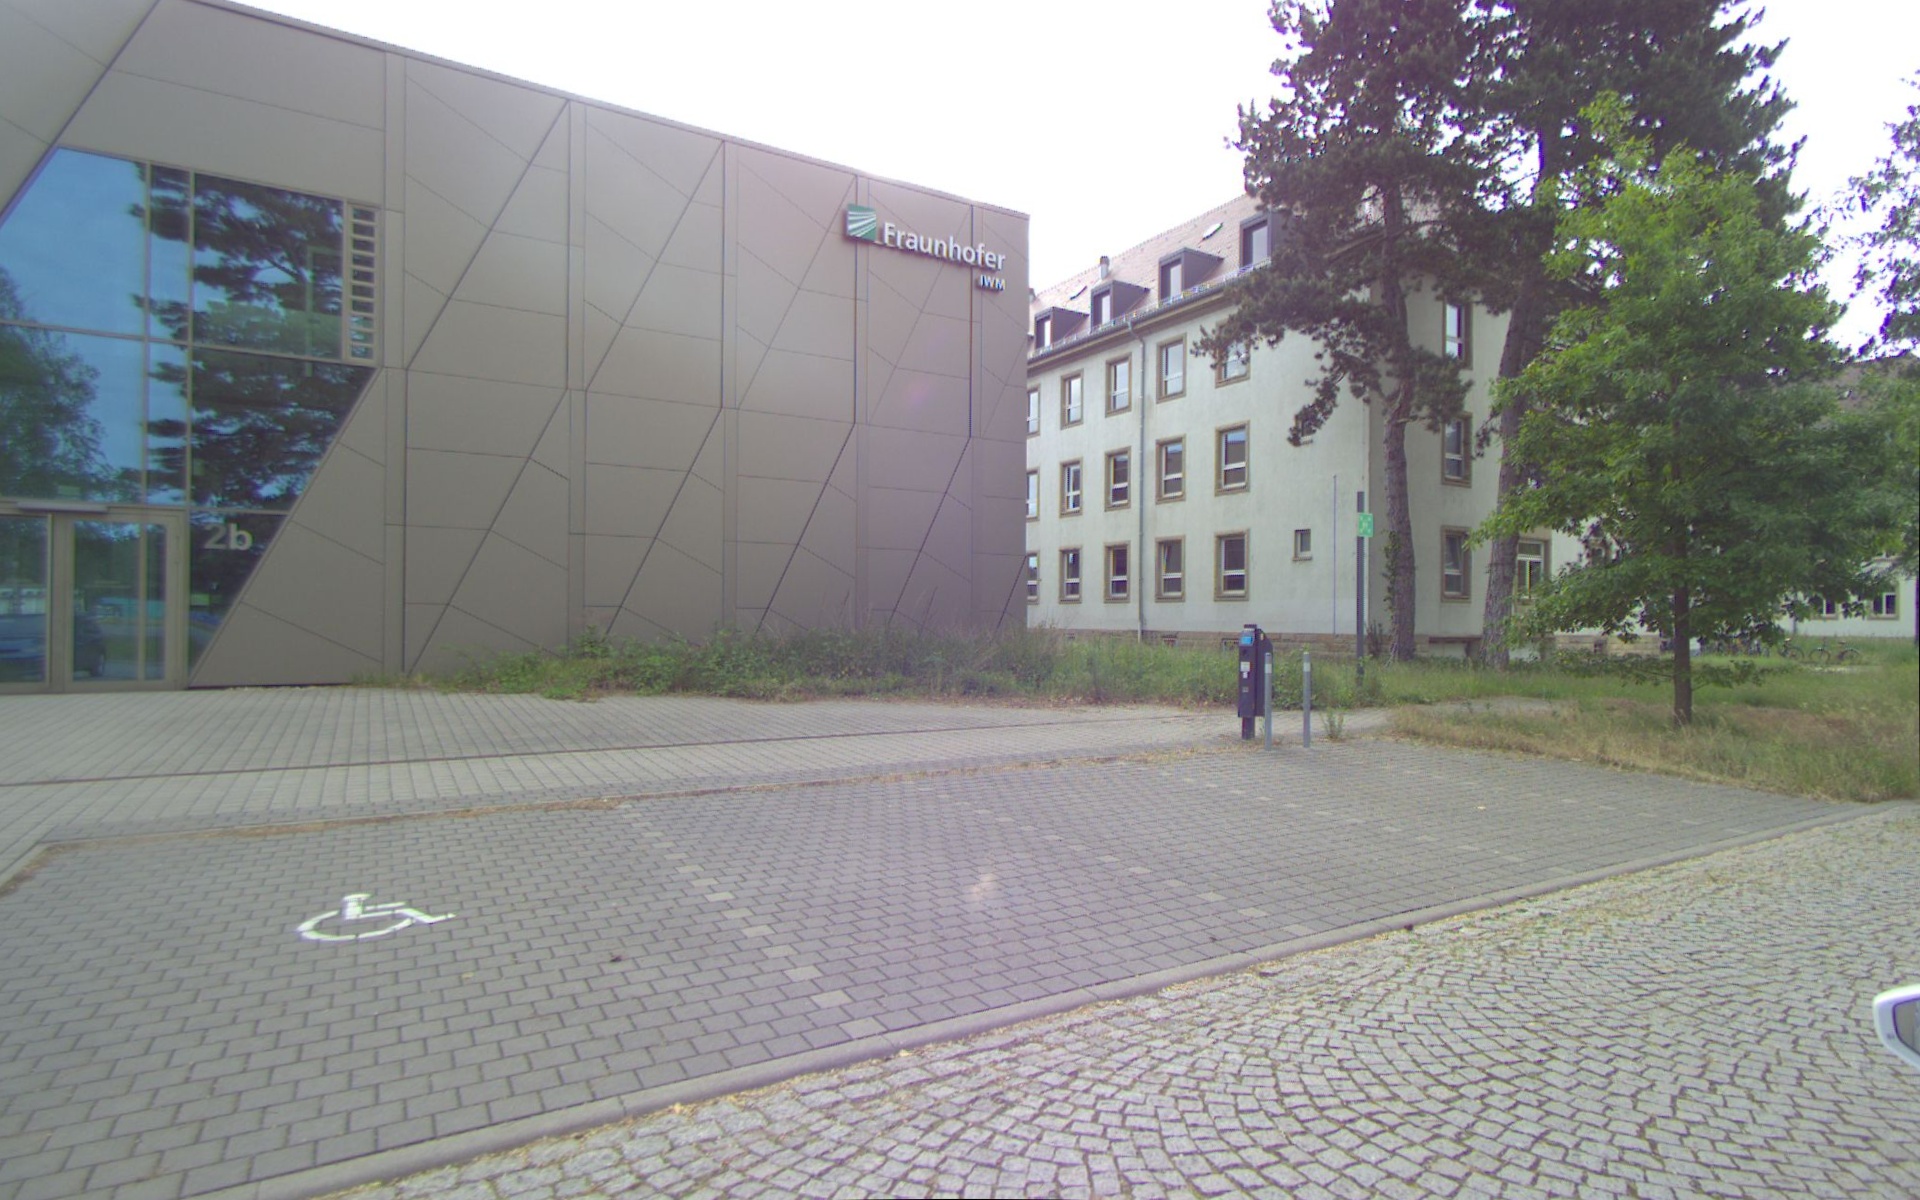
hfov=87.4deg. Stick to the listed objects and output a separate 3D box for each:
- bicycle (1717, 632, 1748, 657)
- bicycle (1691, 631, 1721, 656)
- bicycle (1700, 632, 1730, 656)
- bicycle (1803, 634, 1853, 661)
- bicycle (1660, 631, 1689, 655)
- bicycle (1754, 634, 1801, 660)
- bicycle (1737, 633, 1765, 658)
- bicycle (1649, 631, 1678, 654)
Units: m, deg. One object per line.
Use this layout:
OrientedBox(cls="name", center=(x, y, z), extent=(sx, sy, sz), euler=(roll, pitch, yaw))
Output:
OrientedBox(cls="bicycle", center=(34.336, 1.992, 44.640), extent=(1.565, 1.093, 0.512), euler=(1, -2, -28))
OrientedBox(cls="bicycle", center=(33.883, 1.979, 45.610), extent=(1.567, 1.093, 0.512), euler=(1, -2, -31))
OrientedBox(cls="bicycle", center=(34.061, 1.984, 45.296), extent=(1.567, 1.093, 0.512), euler=(1, -2, -31))
OrientedBox(cls="bicycle", center=(35.263, 1.914, 40.838), extent=(0.510, 1.079, 1.456), euler=(1, -2, -32))
OrientedBox(cls="bicycle", center=(33.196, 1.994, 46.655), extent=(1.567, 1.093, 0.512), euler=(1, -2, -31))
OrientedBox(cls="bicycle", center=(34.300, 1.963, 42.162), extent=(0.510, 1.093, 1.456), euler=(1, -2, -32))
OrientedBox(cls="bicycle", center=(34.751, 2.004, 44.102), extent=(1.569, 1.093, 0.511), euler=(1, -2, -34))
OrientedBox(cls="bicycle", center=(32.963, 1.990, 47.040), extent=(1.567, 1.093, 0.512), euler=(1, -2, -31))
